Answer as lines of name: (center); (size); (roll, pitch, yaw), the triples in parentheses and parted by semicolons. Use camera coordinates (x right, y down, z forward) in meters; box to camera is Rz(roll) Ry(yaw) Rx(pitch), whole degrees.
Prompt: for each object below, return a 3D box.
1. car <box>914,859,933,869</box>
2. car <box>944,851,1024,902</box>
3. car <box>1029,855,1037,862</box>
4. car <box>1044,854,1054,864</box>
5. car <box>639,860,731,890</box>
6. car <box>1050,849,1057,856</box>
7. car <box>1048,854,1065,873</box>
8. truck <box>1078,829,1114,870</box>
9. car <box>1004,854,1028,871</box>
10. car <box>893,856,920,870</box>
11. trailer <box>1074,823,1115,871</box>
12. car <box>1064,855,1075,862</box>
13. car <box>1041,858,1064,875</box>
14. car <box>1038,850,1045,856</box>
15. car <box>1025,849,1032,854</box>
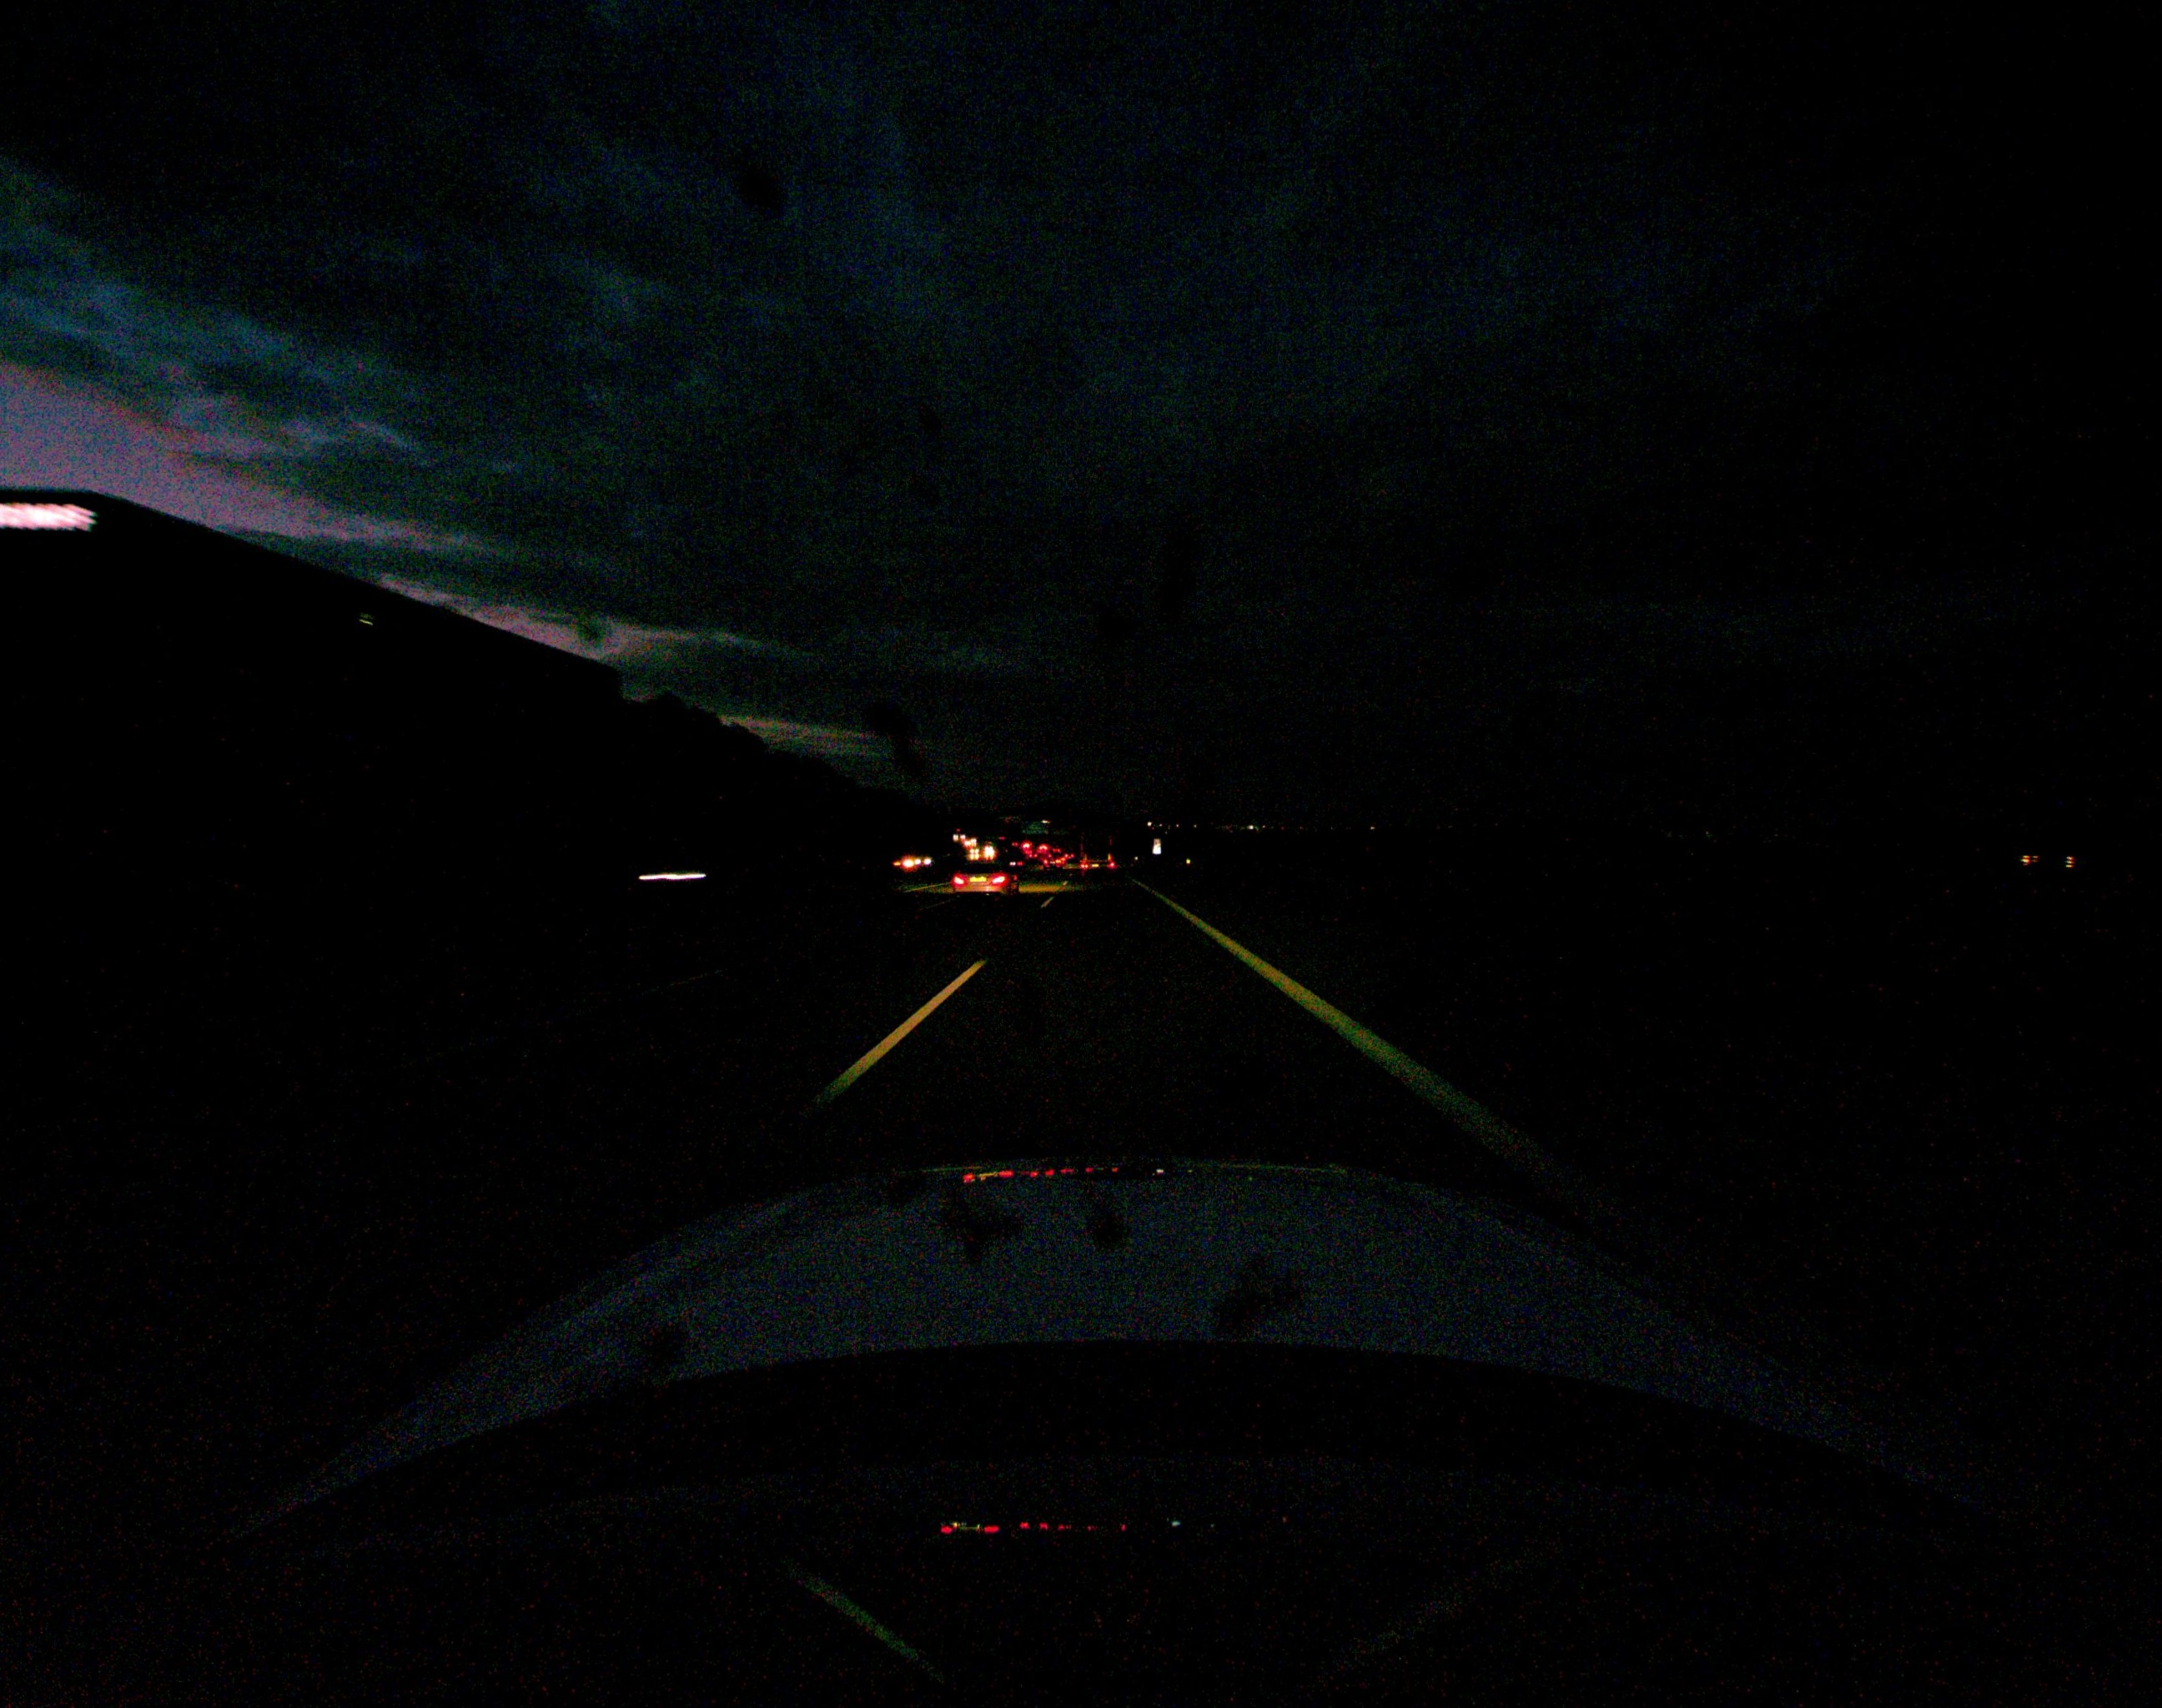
car: (-23.472, 1.448, 121.509); (1.987, 1.534, 5.006); (0, 0, 0)
car: (-3.248, 0.720, 28.240); (1.898, 1.614, 4.808); (0, 0, 4)
car: (-11.284, 0.949, 190.639); (1.990, 1.622, 3.994); (0, 0, -4)
car: (-6.505, 0.951, 165.506); (1.991, 2.014, 3.992); (0, 0, -6)
car: (-18.396, 0.938, 38.116); (1.828, 1.336, 4.911); (0, 0, 1)
car: (-8.389, -0.436, 246.290); (1.991, 1.978, 3.992); (0, 0, -6)
car: (-3.062, 1.192, 101.977); (1.987, 2.380, 3.999); (0, 0, -1)
truck: (1.611, -0.401, 84.630); (3.537, 4.091, 6.153); (0, -1, 1)
car: (-6.103, 0.777, 77.001); (1.755, 1.575, 4.577); (0, 0, 1)
car: (-19.806, 0.987, 92.680); (1.987, 1.505, 4.506); (0, 0, 1)
trailer: (1.366, -0.501, 77.543); (3.537, 4.116, 15.066); (0, -1, 1)
car: (-2.478, 0.919, 175.725); (1.990, 1.534, 3.994); (0, 0, -4)
car: (-2.843, 1.217, 82.543); (2.058, 1.686, 4.577); (0, 0, 1)
car: (-12.109, -0.249, 250.075); (1.992, 1.622, 3.990); (0, 0, -7)
car: (-15.844, -0.807, 244.040); (1.990, 1.468, 3.992); (0, 0, -5)
